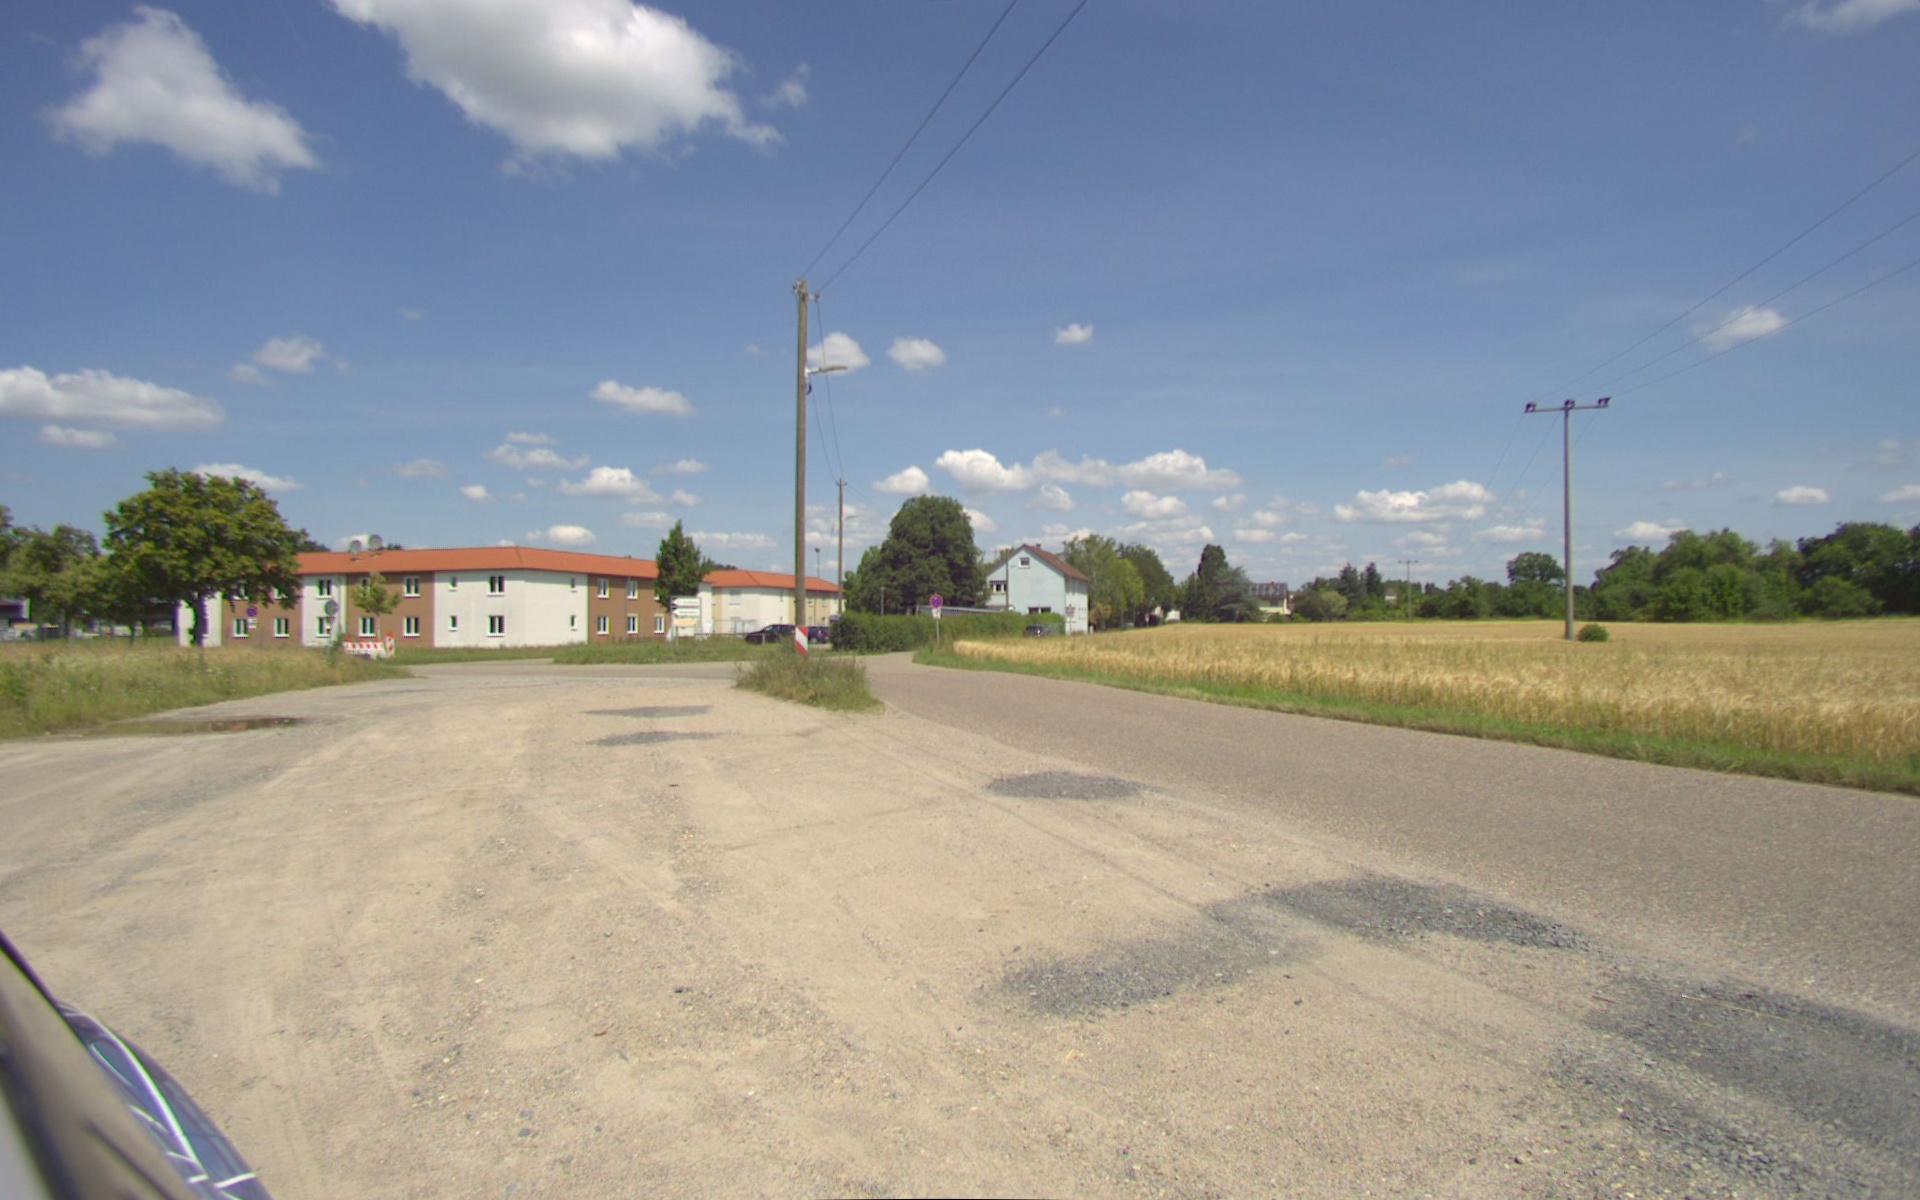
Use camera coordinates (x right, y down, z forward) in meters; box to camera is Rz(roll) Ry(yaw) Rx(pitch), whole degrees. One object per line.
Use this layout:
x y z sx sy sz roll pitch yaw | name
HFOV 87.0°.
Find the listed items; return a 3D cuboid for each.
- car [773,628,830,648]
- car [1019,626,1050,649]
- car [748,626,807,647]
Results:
-12.901 3.071 82.403 4.110 1.627 1.990 -1 -2 15 | car
6.022 3.016 81.926 1.733 1.692 4.235 -2 -1 15 | car
-14.187 2.847 78.704 4.110 1.627 1.990 -1 -2 15 | car
